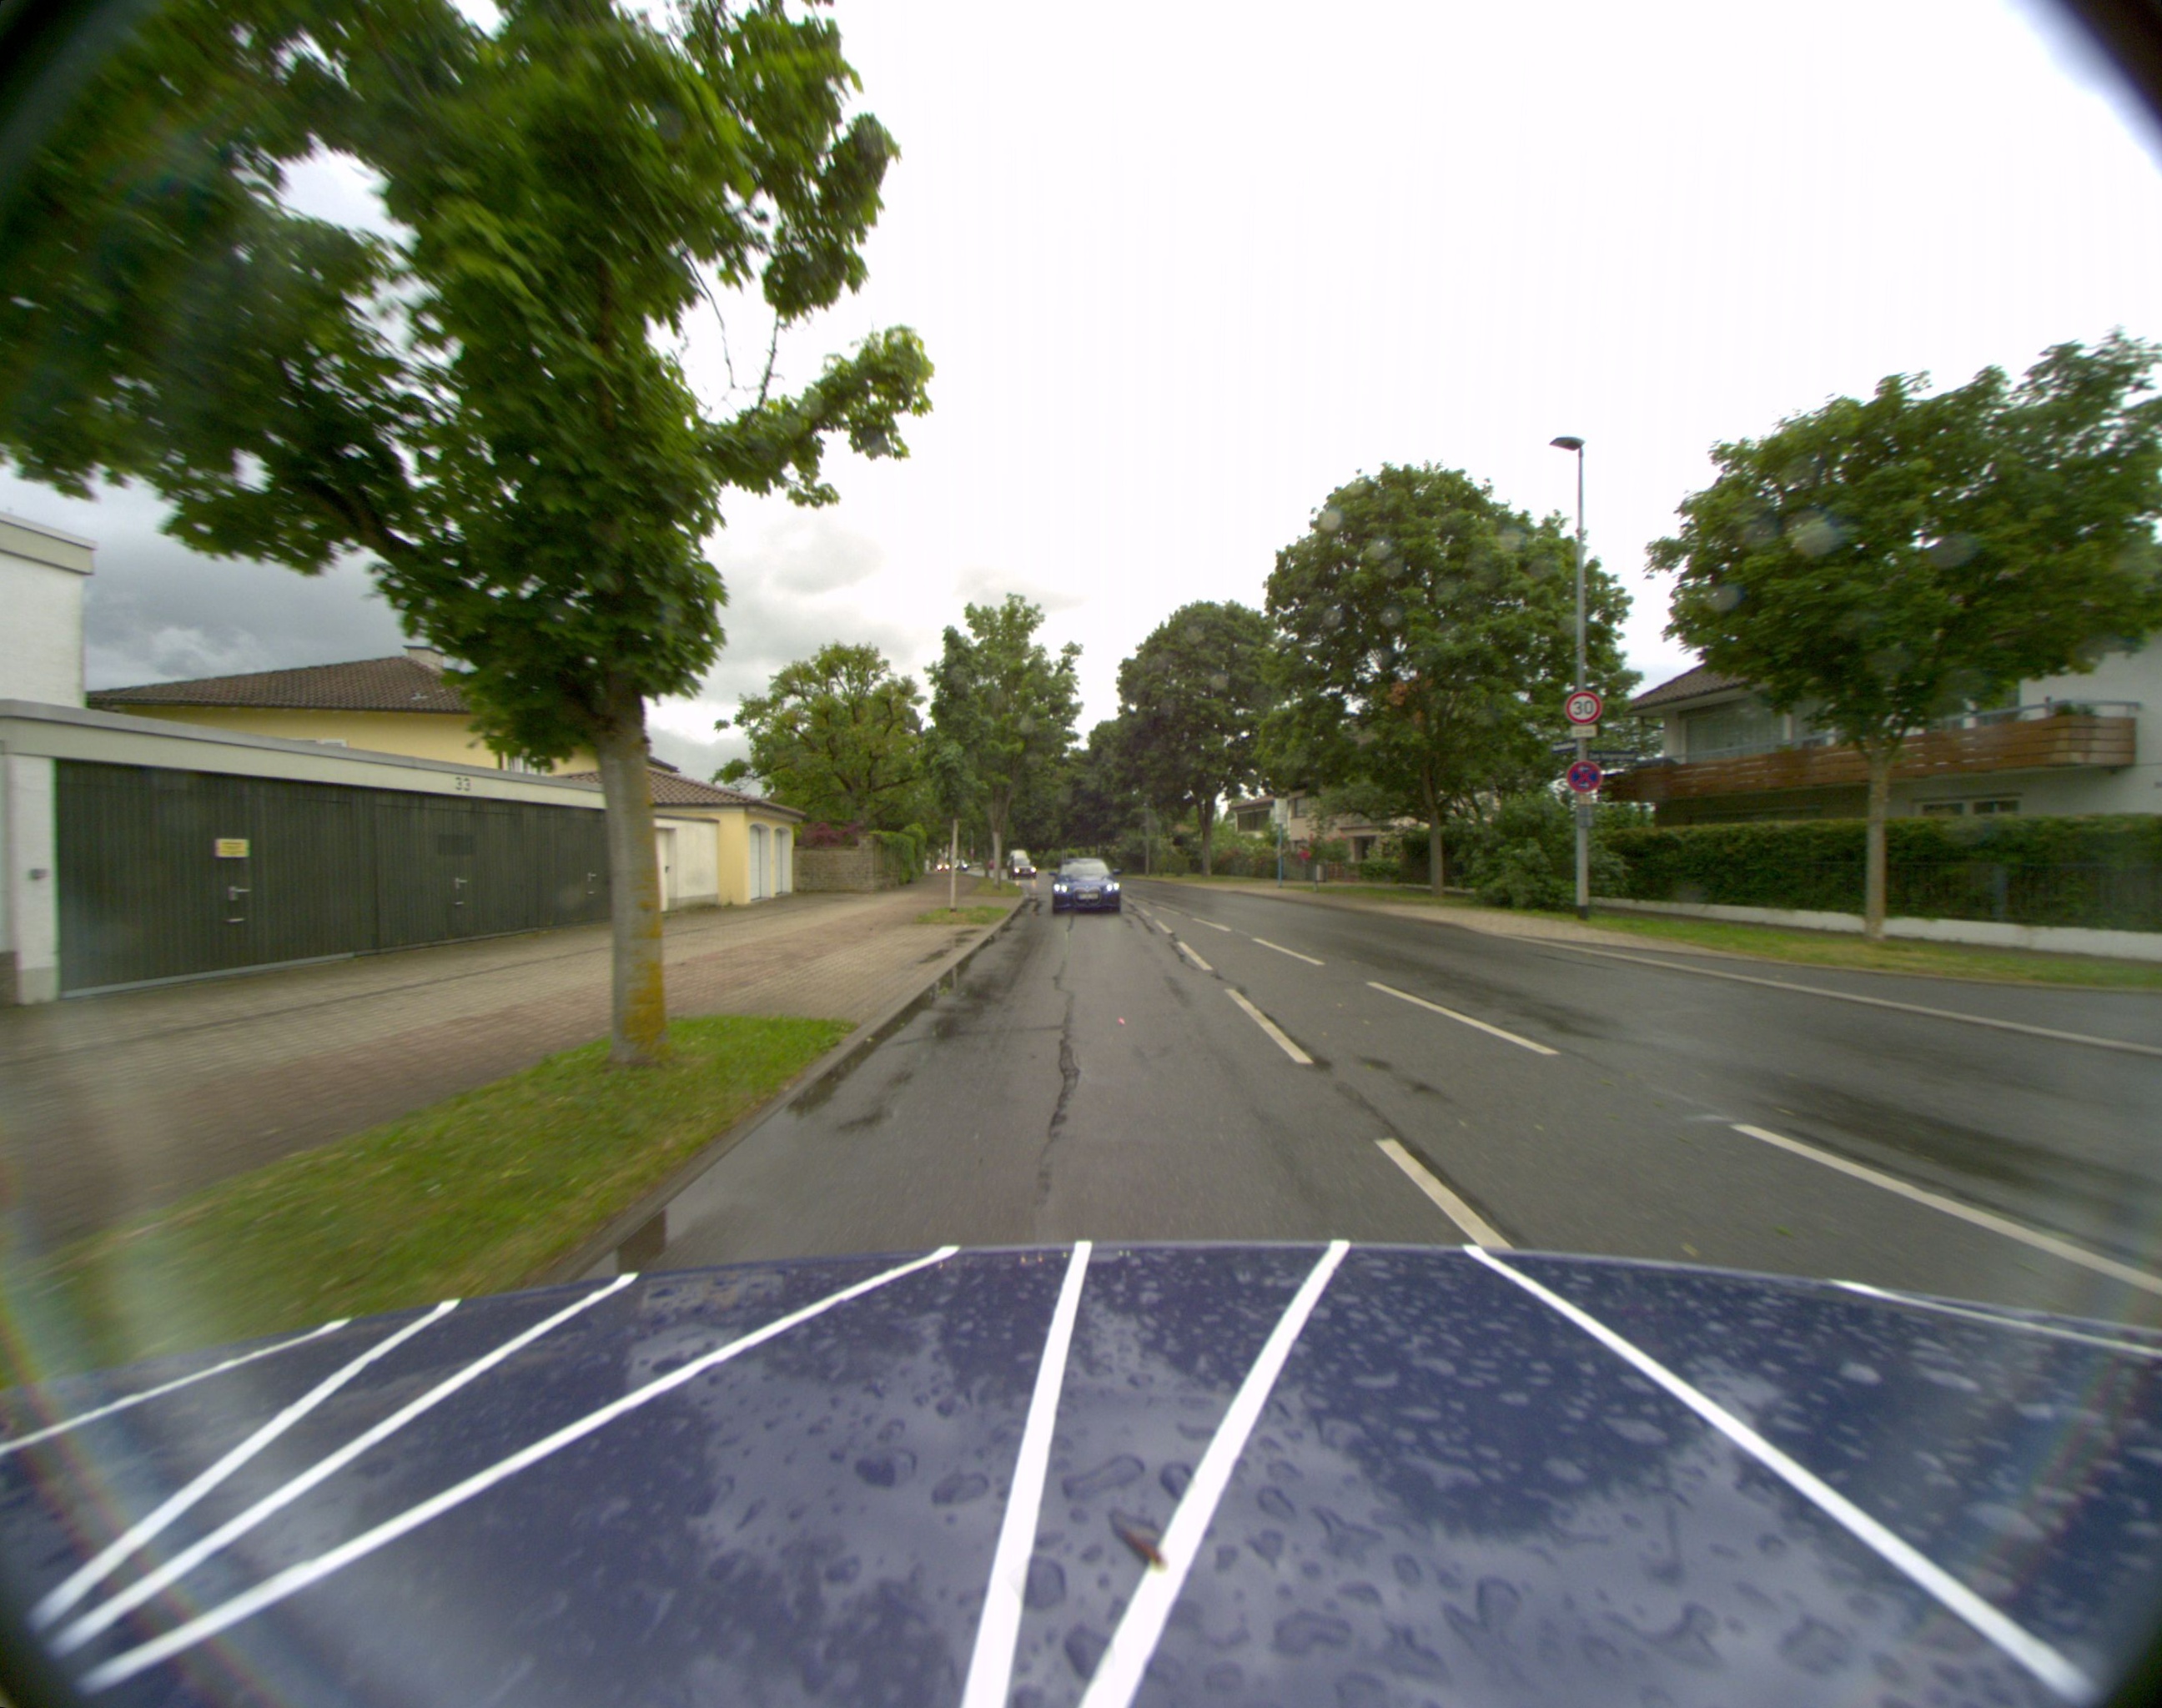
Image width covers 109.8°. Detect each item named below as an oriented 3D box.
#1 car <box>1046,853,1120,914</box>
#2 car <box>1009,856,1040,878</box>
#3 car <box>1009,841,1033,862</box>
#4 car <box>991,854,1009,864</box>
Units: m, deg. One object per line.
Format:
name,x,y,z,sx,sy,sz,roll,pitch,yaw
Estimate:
car,0.049,0.811,22.233,1.896,1.531,4.000,-3,-1,-1
car,-4.154,0.975,55.441,1.658,1.443,3.996,-3,-1,-12
car,-7.475,-0.332,94.864,2.001,2.546,5.226,-1,0,-15
car,-12.006,0.788,112.385,1.850,1.457,4.244,-1,0,-15
